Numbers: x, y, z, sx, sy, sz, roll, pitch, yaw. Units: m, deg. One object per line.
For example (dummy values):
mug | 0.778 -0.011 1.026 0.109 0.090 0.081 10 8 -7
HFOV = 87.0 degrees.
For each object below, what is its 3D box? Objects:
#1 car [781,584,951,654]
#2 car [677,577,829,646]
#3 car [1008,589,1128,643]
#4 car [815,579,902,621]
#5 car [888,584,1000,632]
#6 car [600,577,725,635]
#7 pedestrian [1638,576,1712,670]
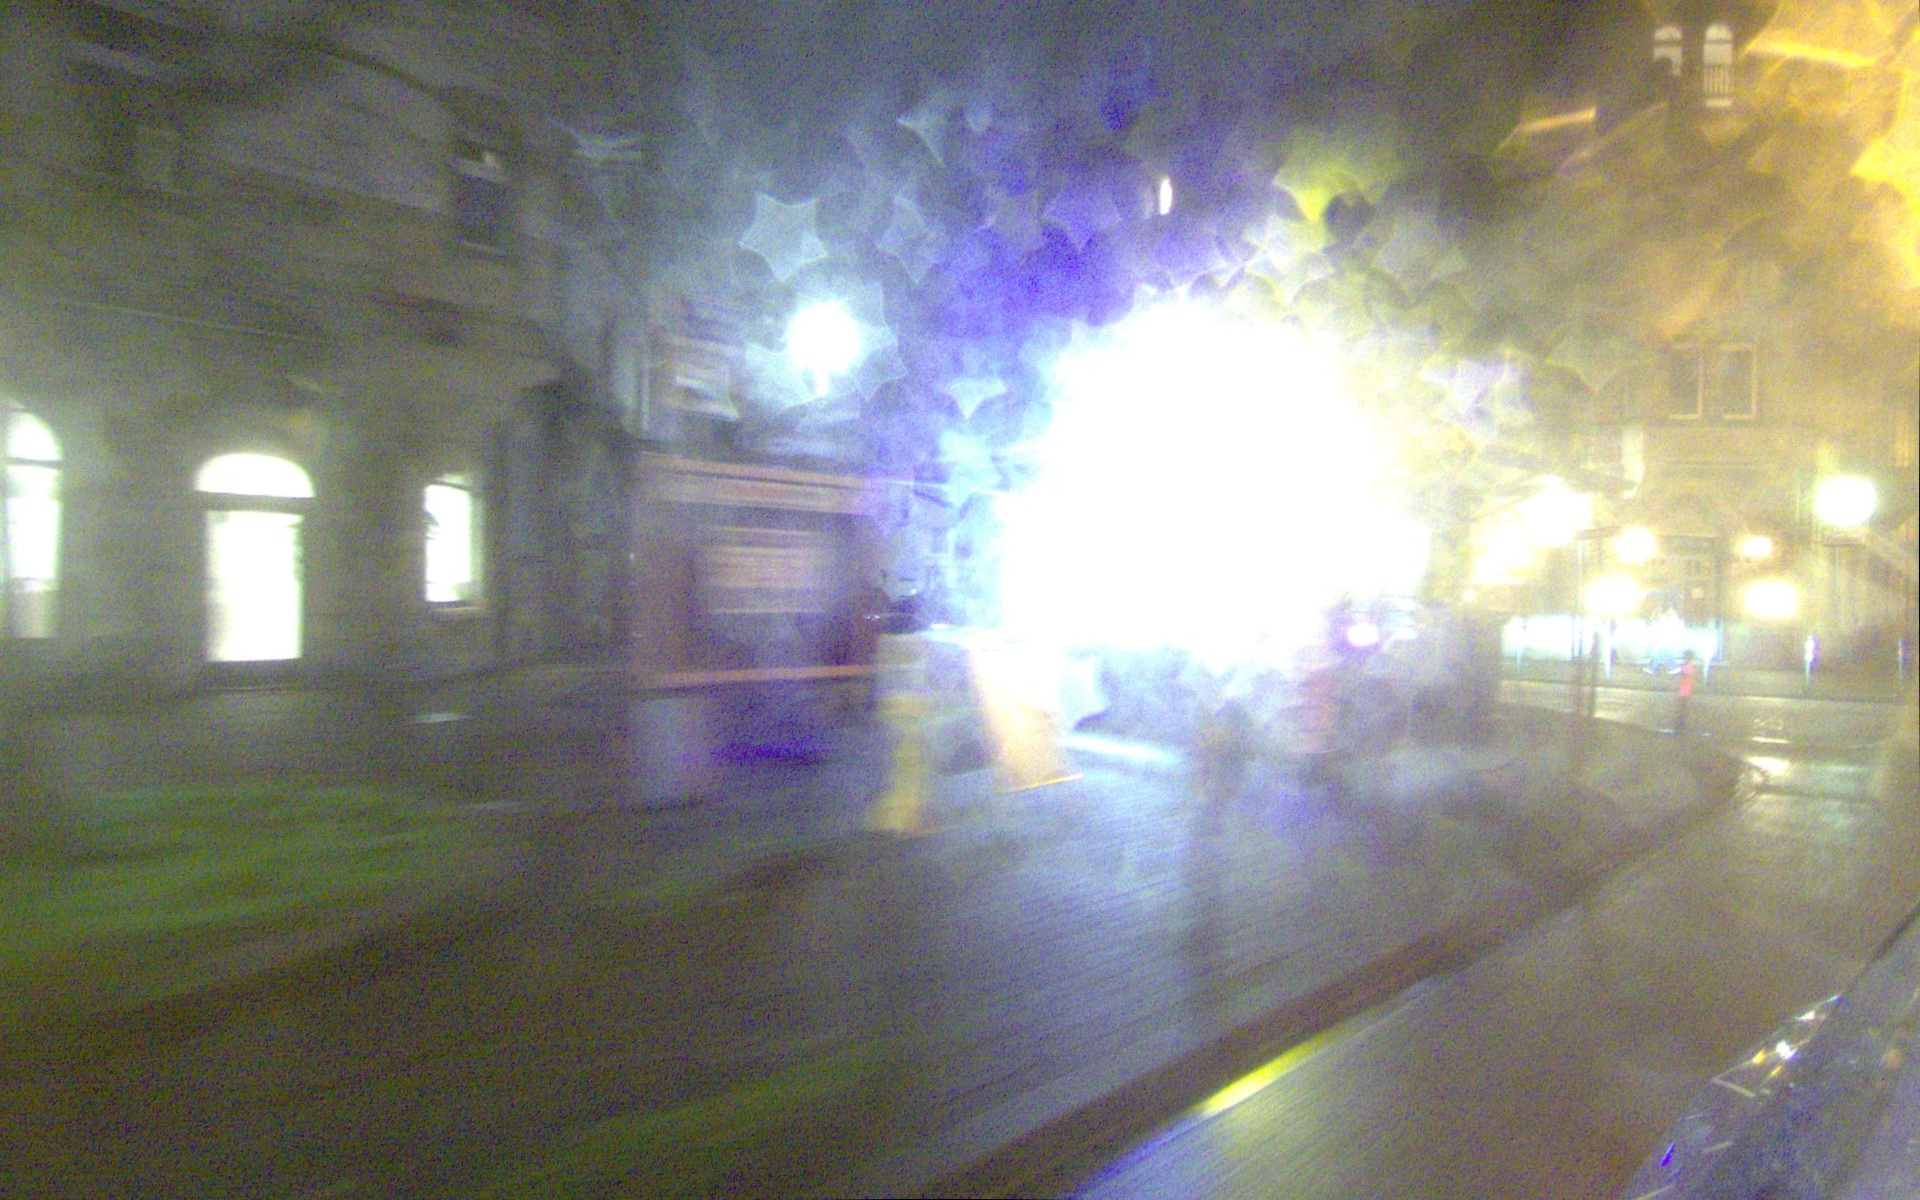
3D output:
car | -2.377 0.392 24.685 1.742 1.521 4.409 0 1 -45
car | -5.937 0.257 28.663 1.970 1.765 4.681 0 1 -45
car | 3.171 0.442 30.099 1.581 1.476 3.412 0 1 -40
car | -3.836 -0.030 37.936 1.581 1.476 3.412 0 1 -40
car | -0.582 0.231 33.729 1.581 1.476 3.975 0 1 -40
car | -9.908 0.133 33.482 1.970 1.765 4.681 0 1 -45
pedestrian | 14.429 0.454 20.415 1.063 1.810 0.865 2 2 -38
